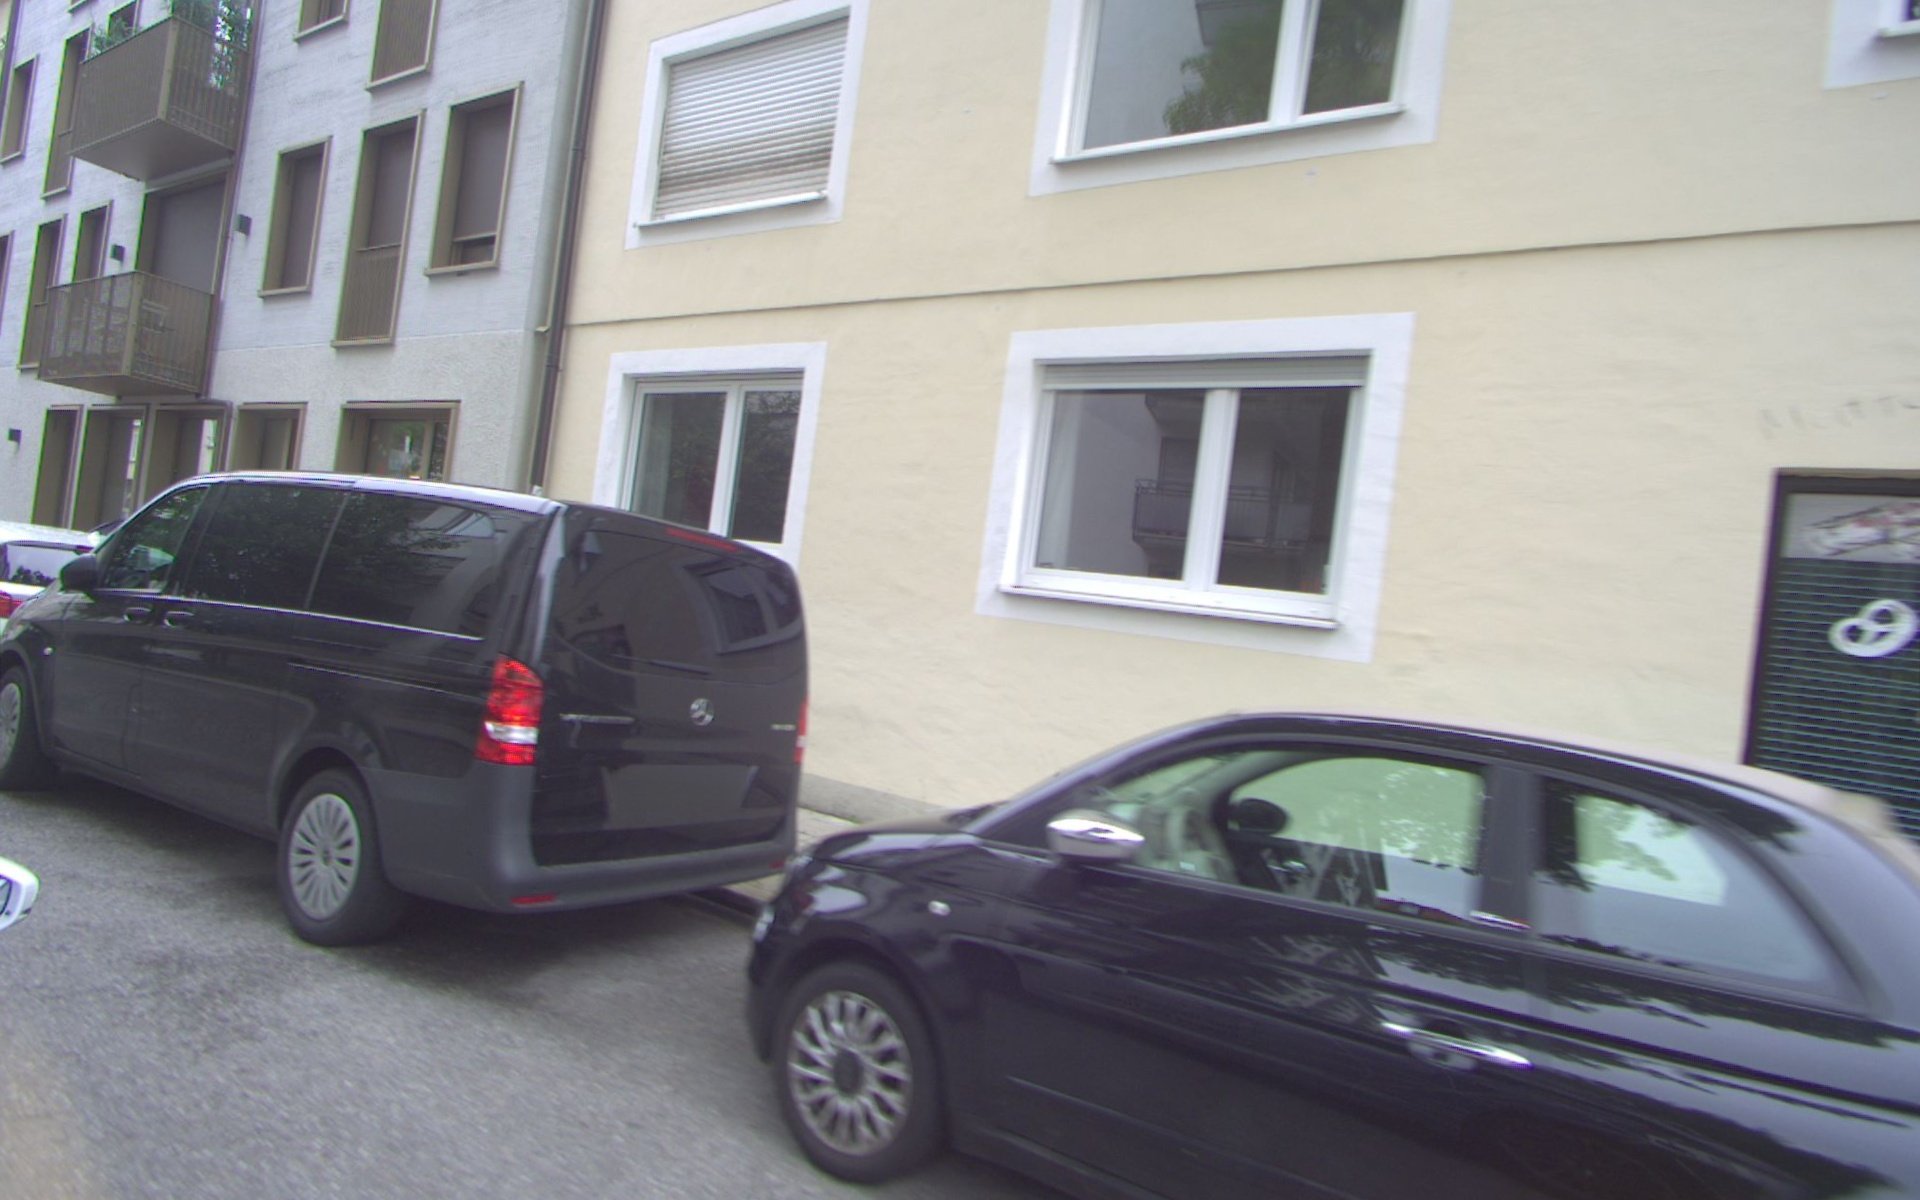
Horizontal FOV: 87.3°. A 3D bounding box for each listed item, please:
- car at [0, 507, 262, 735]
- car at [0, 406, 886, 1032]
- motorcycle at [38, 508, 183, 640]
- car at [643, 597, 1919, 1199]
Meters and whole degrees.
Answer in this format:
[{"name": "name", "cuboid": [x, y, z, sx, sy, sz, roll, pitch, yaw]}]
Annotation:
[{"name": "car", "cuboid": [-7.846, 0.005, 8.355, 4.310, 1.477, 1.772, 6, -3, 34]}, {"name": "car", "cuboid": [-3.047, 0.266, 5.306, 4.802, 1.998, 1.997, 7, -3, 30]}, {"name": "motorcycle", "cuboid": [-10.625, -0.336, 12.561, 1.901, 1.442, 0.805, 7, 2, 33]}, {"name": "car", "cuboid": [1.010, 1.001, 2.859, 3.480, 1.487, 1.639, 7, -3, 33]}]
